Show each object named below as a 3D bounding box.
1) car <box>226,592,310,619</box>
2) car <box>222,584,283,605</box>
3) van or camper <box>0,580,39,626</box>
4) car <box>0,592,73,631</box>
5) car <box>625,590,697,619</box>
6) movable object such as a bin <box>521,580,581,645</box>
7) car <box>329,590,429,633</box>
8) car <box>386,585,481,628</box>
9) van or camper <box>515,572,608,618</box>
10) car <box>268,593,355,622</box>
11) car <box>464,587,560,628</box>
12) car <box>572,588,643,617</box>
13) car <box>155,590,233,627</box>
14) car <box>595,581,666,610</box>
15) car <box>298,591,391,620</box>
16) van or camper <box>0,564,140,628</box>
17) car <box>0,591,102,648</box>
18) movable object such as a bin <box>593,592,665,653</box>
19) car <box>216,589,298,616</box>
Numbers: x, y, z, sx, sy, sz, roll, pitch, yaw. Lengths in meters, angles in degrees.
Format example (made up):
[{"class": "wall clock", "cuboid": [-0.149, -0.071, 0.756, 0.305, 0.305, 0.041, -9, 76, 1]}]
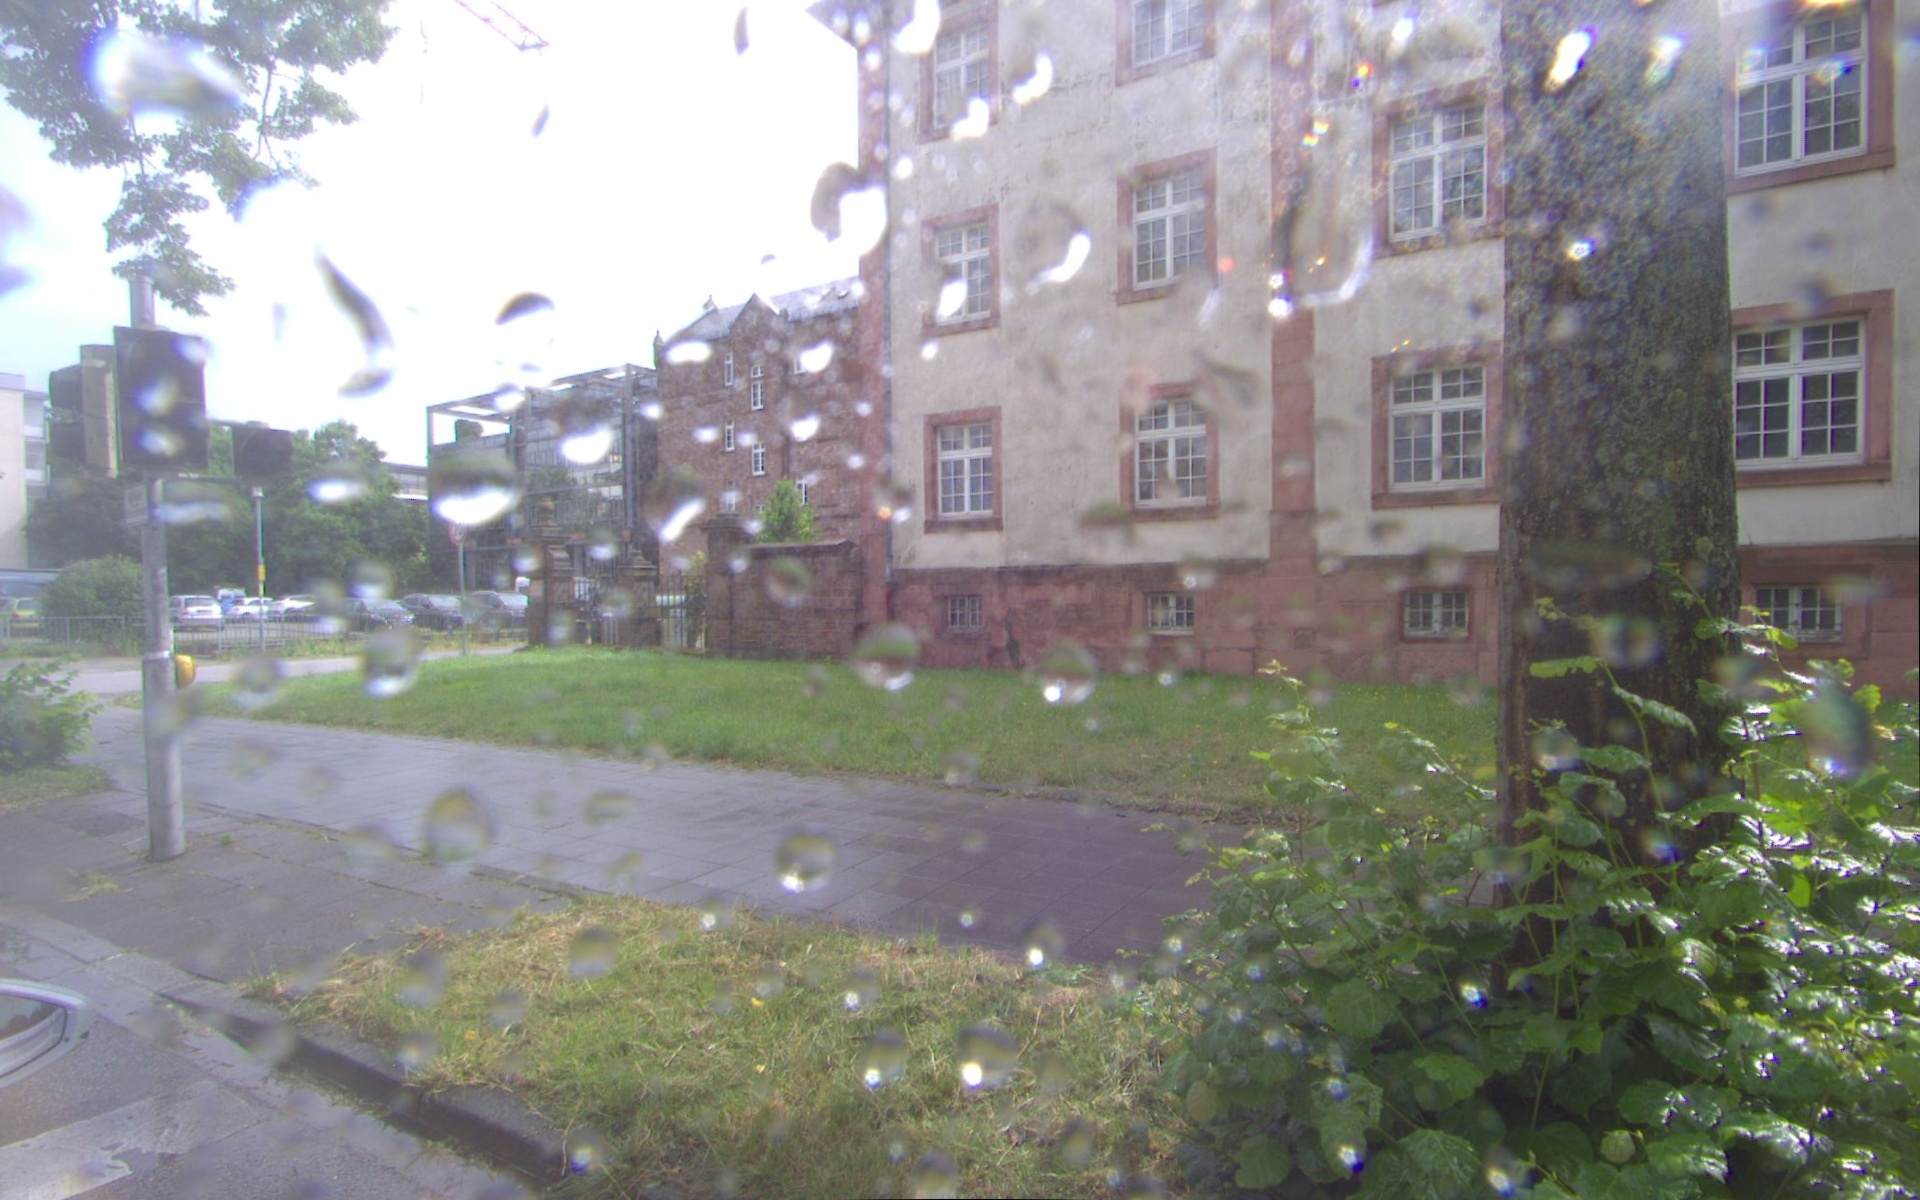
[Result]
[{"class": "car", "cuboid": [-40.268, 0.295, 58.315, 1.617, 1.506, 3.654, 0, 1, 36]}, {"class": "car", "cuboid": [-50.436, -0.416, 71.454, 1.489, 1.416, 3.214, 0, 1, 36]}, {"class": "van or camper", "cuboid": [-47.232, 0.151, 47.556, 2.291, 2.160, 4.743, 1, 1, 36]}, {"class": "car", "cuboid": [-36.232, 0.434, 39.136, 3.370, 1.468, 1.605, 0, 1, 35]}, {"class": "car", "cuboid": [-16.815, 0.215, 56.372, 1.649, 1.545, 3.656, 0, 1, 34]}, {"class": "movable object such as a bin", "cuboid": [-9.608, 0.268, 23.529, 1.081, 1.477, 0.797, 1, 3, 34]}, {"class": "car", "cuboid": [-22.650, 0.418, 38.978, 4.367, 1.547, 1.822, 0, 1, 38]}, {"class": "car", "cuboid": [-21.701, 0.244, 41.238, 4.368, 1.702, 1.845, 0, 1, 39]}, {"class": "van or camper", "cuboid": [-23.682, -0.231, 59.629, 2.226, 2.518, 4.778, -1, -2, 32]}, {"class": "car", "cuboid": [-35.747, 0.386, 55.262, 1.617, 1.506, 3.654, 0, 1, 36]}, {"class": "car", "cuboid": [-19.687, 0.314, 43.906, 4.363, 1.702, 1.847, 0, 1, 35]}, {"class": "car", "cuboid": [-20.733, 0.121, 58.987, 1.649, 1.598, 3.656, 0, 1, 34]}, {"class": "car", "cuboid": [-33.091, 0.349, 43.231, 3.668, 1.506, 1.643, 0, 1, 36]}, {"class": "car", "cuboid": [-18.995, -0.224, 57.917, 1.649, 1.505, 3.658, 0, -2, 34]}, {"class": "car", "cuboid": [-33.383, 0.260, 54.409, 1.649, 1.485, 3.962, 0, 1, 34]}, {"class": "van or camper", "cuboid": [-38.331, -0.151, 42.535, 2.145, 2.588, 4.986, -1, 0, 34]}, {"class": "car", "cuboid": [-30.341, 0.614, 33.254, 4.180, 1.773, 1.798, 0, 1, 35]}, {"class": "movable object such as a bin", "cuboid": [-8.479, 0.553, 25.652, 1.371, 1.477, 1.103, 0, 3, 34]}, {"class": "car", "cuboid": [-41.860, 0.136, 59.716, 1.617, 1.506, 3.654, 0, 1, 36]}]
